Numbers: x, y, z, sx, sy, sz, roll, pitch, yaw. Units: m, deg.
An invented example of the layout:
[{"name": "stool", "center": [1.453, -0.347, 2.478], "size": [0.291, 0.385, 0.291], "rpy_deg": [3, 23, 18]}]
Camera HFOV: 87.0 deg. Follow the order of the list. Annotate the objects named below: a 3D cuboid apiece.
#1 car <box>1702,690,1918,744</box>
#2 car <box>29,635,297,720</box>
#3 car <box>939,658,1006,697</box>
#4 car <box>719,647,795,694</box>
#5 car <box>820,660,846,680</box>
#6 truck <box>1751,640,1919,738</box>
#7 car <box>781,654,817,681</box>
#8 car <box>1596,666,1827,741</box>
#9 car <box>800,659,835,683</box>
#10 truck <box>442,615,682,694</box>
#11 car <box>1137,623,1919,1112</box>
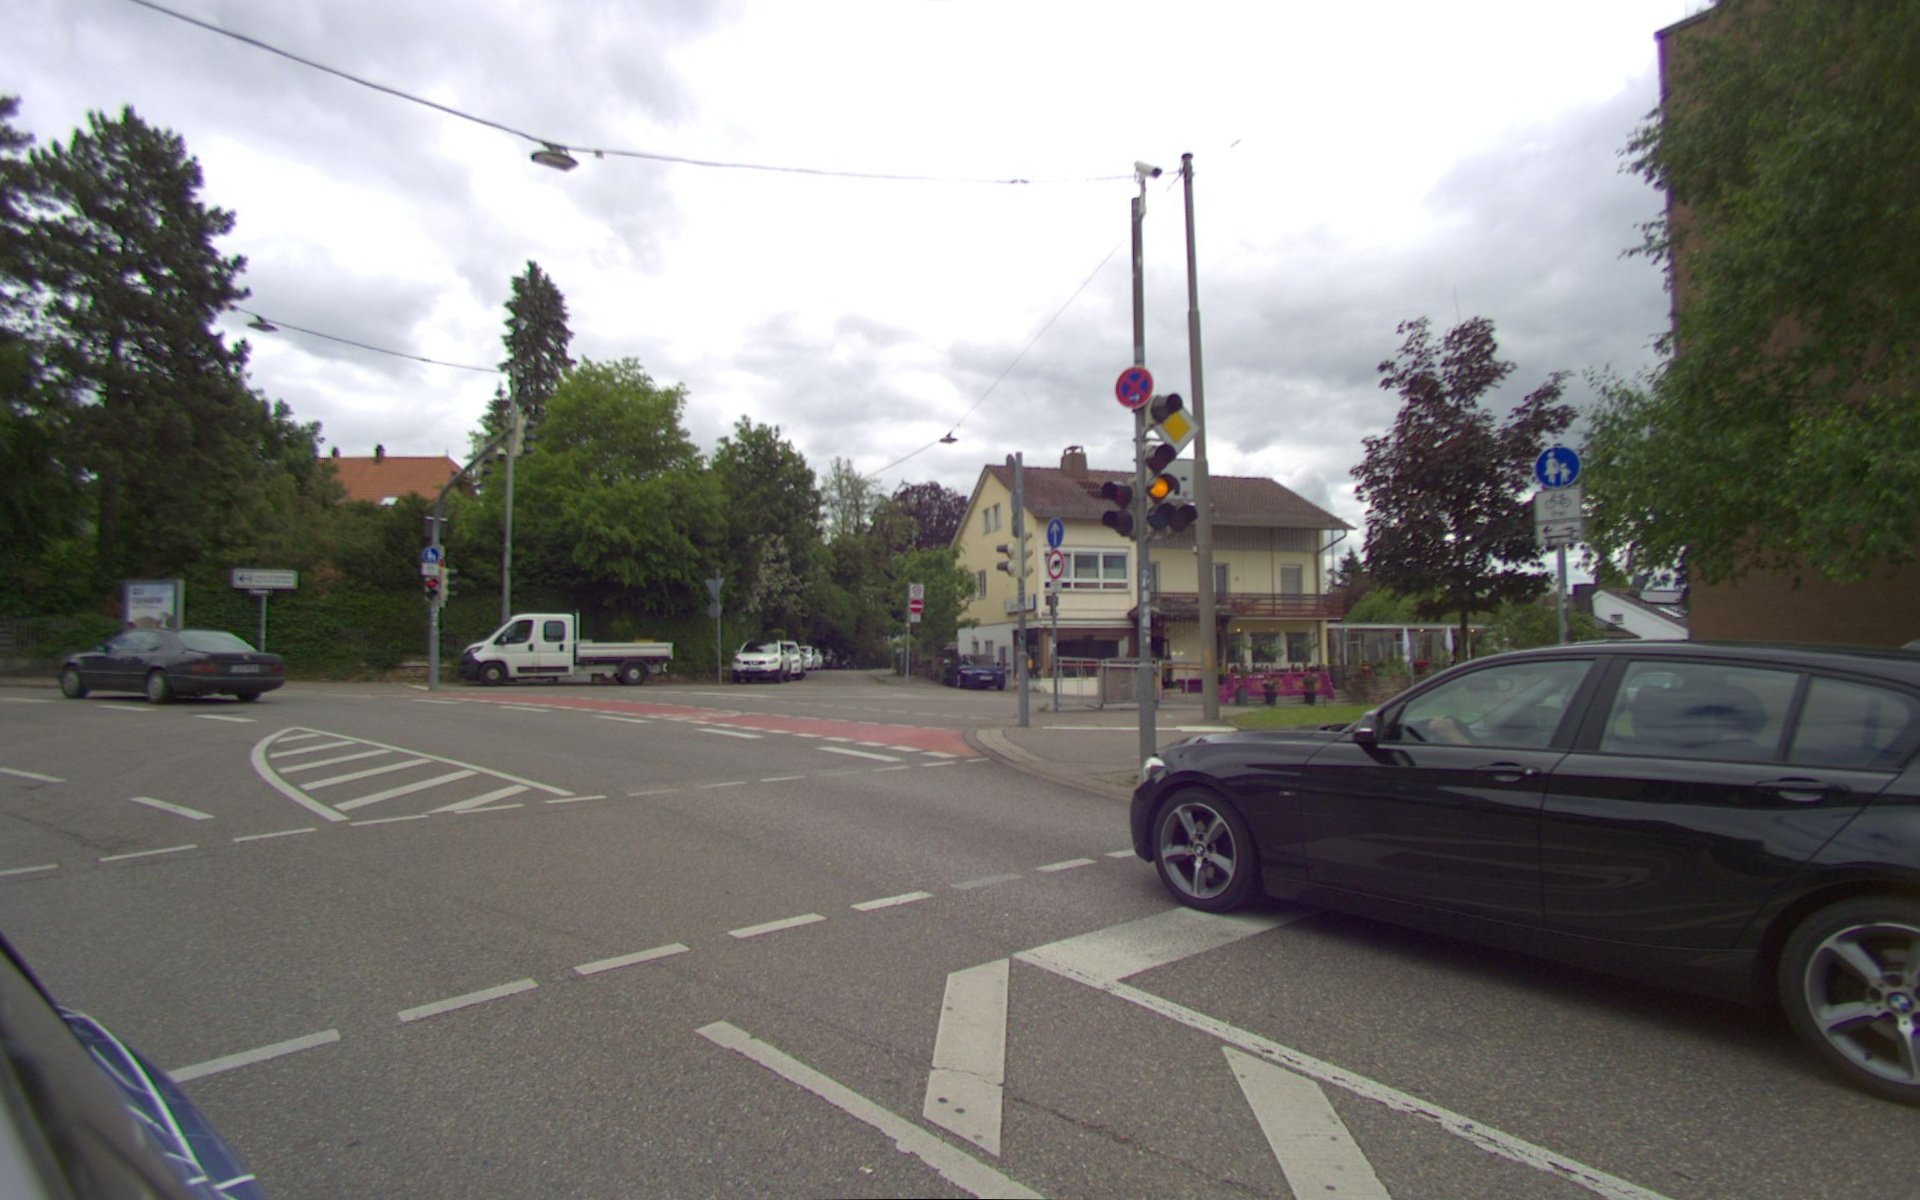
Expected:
[{"name": "car", "center": [21.479, 2.911, 25.723], "size": [1.756, 1.099, 3.856], "rpy_deg": [3, -4, -33]}, {"name": "car", "center": [-14.892, 1.392, 18.897], "size": [4.838, 1.338, 1.837], "rpy_deg": [0, -3, 24]}, {"name": "car", "center": [0.457, 3.125, 41.234], "size": [1.850, 1.460, 4.009], "rpy_deg": [2, -3, -12]}, {"name": "car", "center": [-7.513, 2.631, 37.872], "size": [1.973, 1.625, 3.998], "rpy_deg": [1, -3, 1]}, {"name": "car", "center": [-10.393, 5.714, 83.196], "size": [1.845, 1.599, 3.732], "rpy_deg": [1, -3, -3]}, {"name": "truck", "center": [38.387, 3.902, 44.167], "size": [8.170, 3.827, 3.029], "rpy_deg": [5, -4, -28]}, {"name": "car", "center": [-10.194, 4.268, 64.165], "size": [1.845, 1.599, 3.732], "rpy_deg": [1, -3, -3]}, {"name": "car", "center": [17.672, 2.371, 23.981], "size": [1.756, 1.533, 4.017], "rpy_deg": [3, -4, -33]}, {"name": "car", "center": [-10.357, 5.158, 73.730], "size": [1.972, 1.629, 3.999], "rpy_deg": [1, -3, 0]}, {"name": "truck", "center": [-12.210, 1.728, 31.227], "size": [6.601, 2.205, 2.538], "rpy_deg": [3, -3, -26]}, {"name": "car", "center": [2.858, 0.863, 4.345], "size": [1.739, 1.419, 4.009], "rpy_deg": [4, -4, -37]}]
